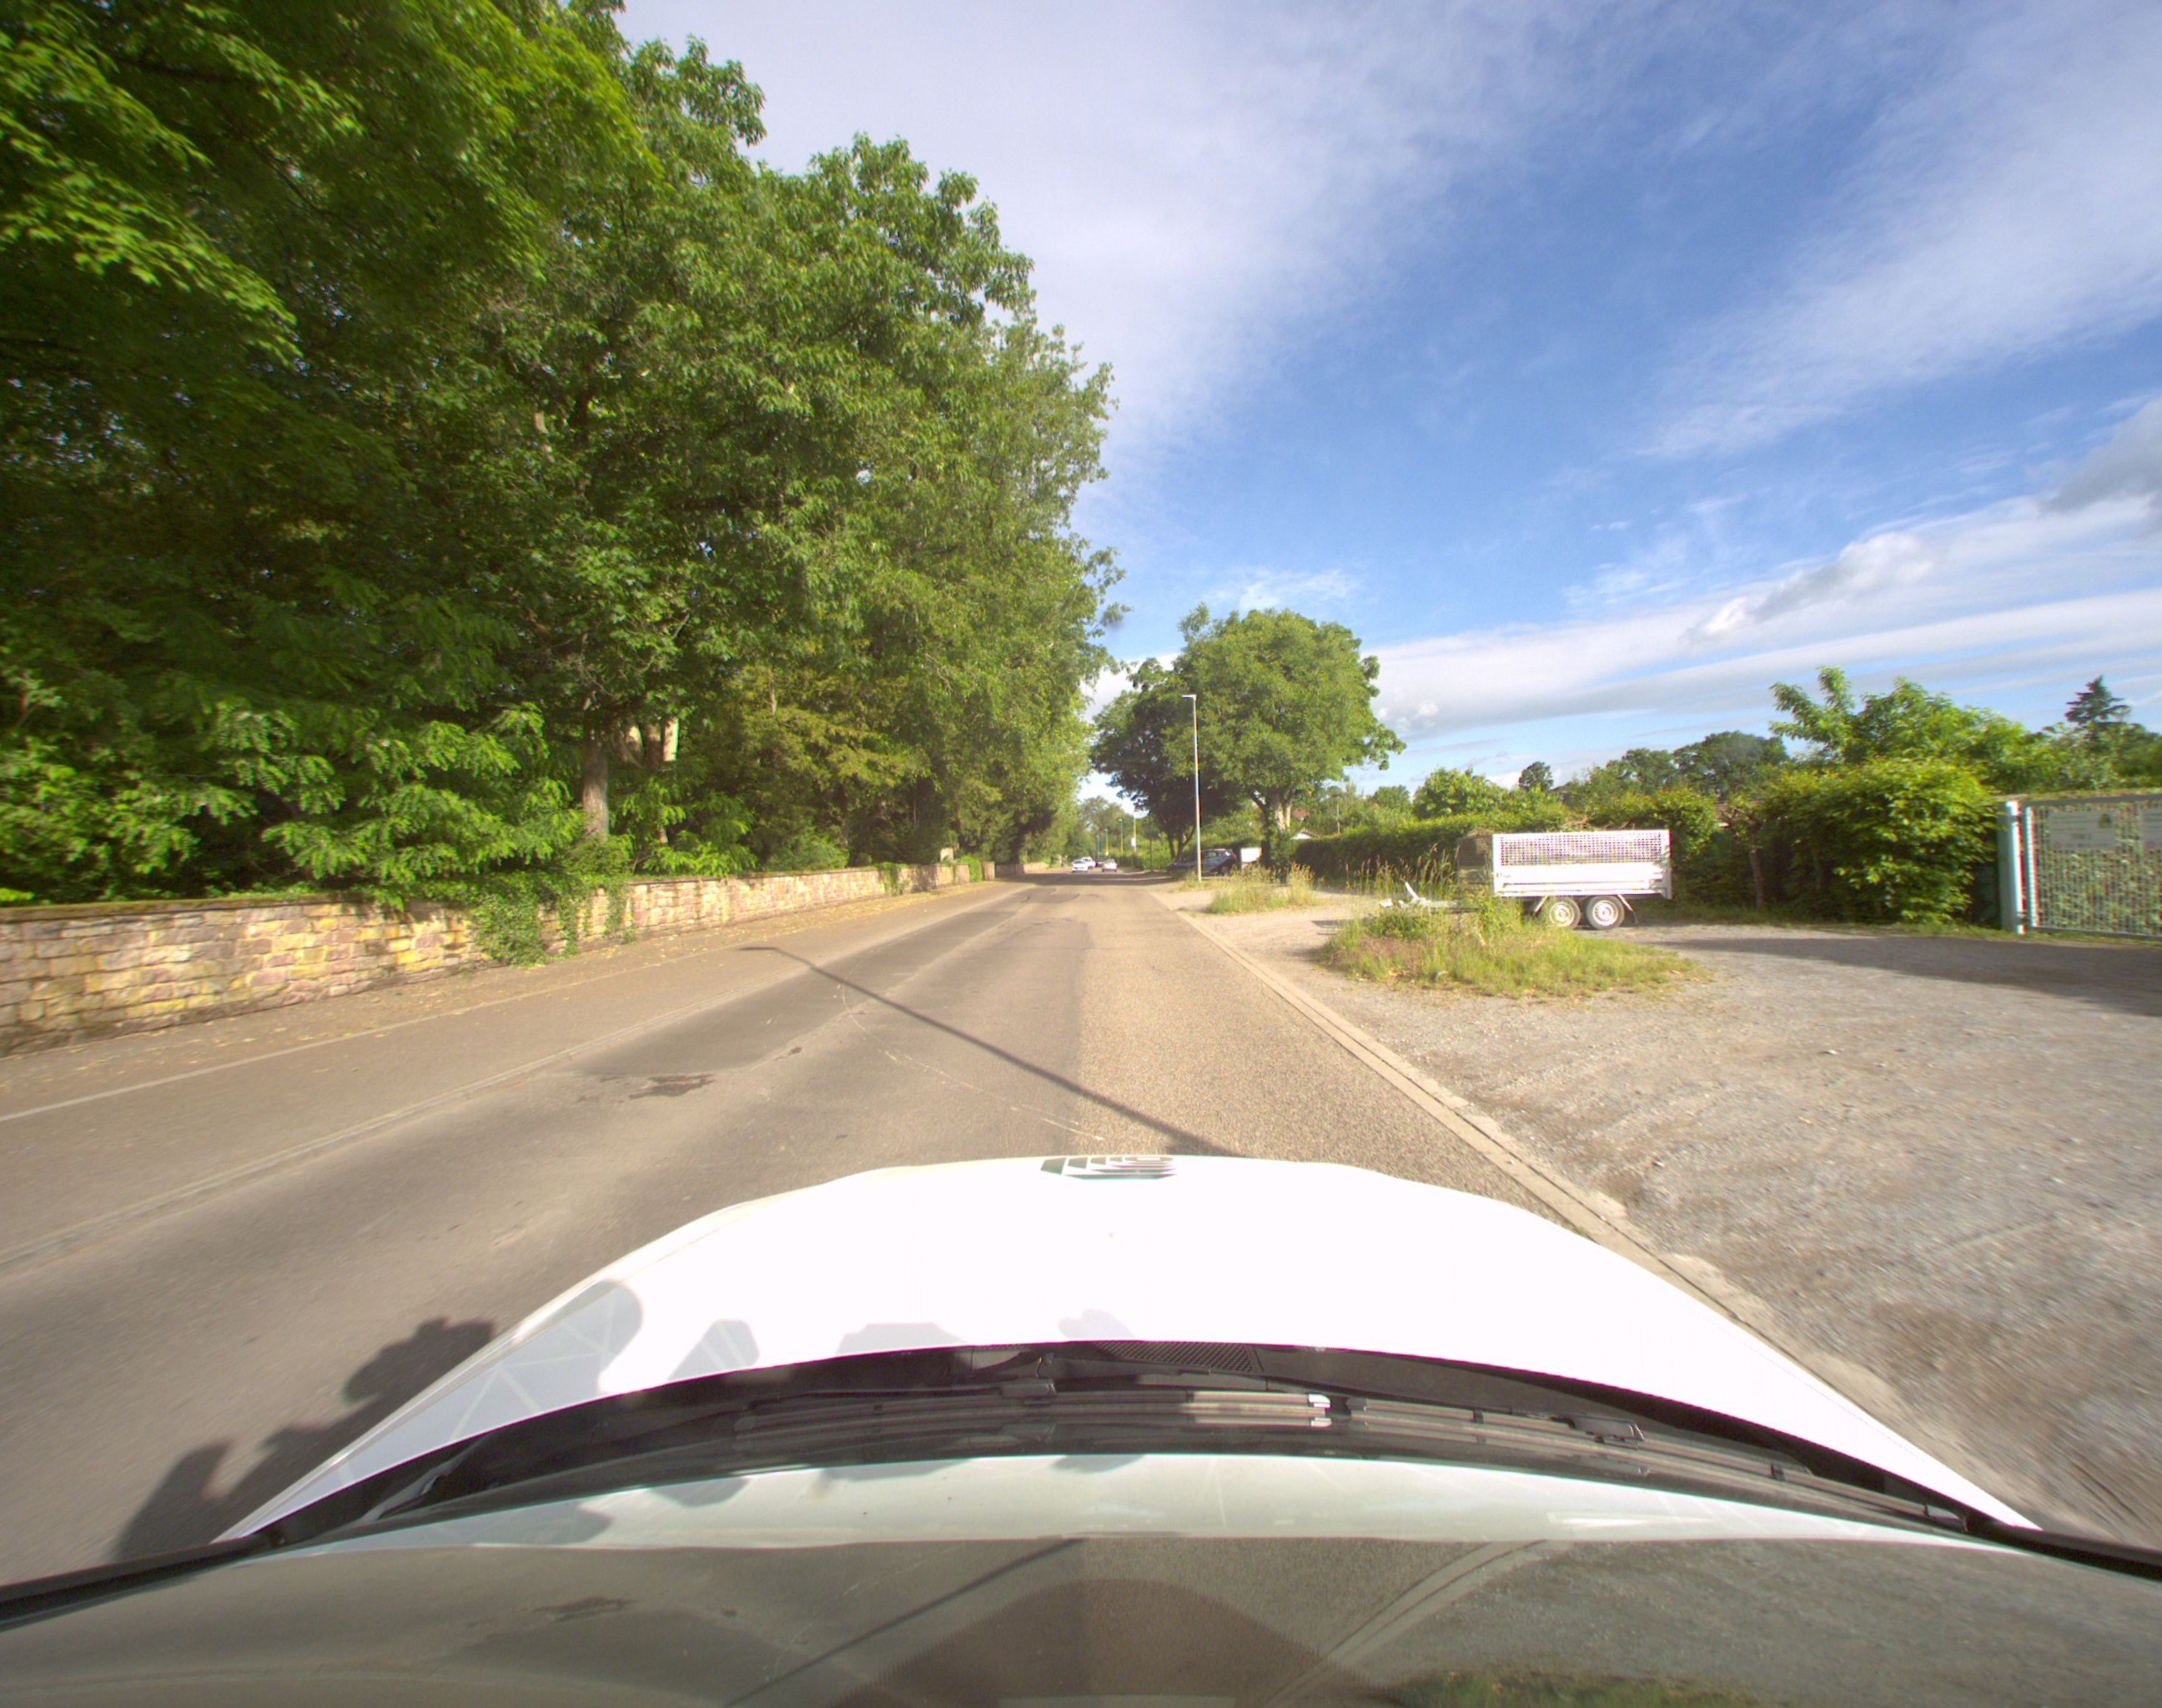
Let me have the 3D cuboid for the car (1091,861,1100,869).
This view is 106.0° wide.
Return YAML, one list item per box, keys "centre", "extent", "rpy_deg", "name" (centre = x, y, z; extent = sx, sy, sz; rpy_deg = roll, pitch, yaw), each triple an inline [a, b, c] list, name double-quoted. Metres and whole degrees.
- centre: [3.030, 2.316, 175.427]
  extent: [1.880, 1.613, 4.055]
  rpy_deg: [-2, -1, 1]
  name: "car"

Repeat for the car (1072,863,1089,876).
- centre: [-0.111, 1.766, 94.794]
  extent: [1.881, 1.372, 4.053]
  rpy_deg: [-2, -1, -1]
  name: "car"

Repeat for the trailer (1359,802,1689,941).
- centre: [6.835, 0.274, 12.982]
  extent: [4.132, 1.835, 1.919]
  rpy_deg: [-3, -1, 5]
  name: "trailer"

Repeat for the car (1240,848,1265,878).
- centre: [10.400, 0.501, 49.386]
  extent: [1.342, 1.632, 4.125]
  rpy_deg: [-5, 0, 12]
  name: "car"

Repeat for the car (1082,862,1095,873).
- centre: [1.183, 2.006, 123.758]
  extent: [1.880, 1.564, 4.055]
  rpy_deg: [-2, -1, 1]
  name: "car"

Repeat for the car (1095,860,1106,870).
- centre: [3.467, 1.970, 148.071]
  extent: [1.880, 1.613, 4.055]
  rpy_deg: [-2, -1, 1]
  name: "car"

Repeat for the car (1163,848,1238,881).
- centre: [7.485, 0.663, 51.326]
  extent: [4.386, 1.646, 2.001]
  rpy_deg: [-5, -1, 2]
  name: "car"

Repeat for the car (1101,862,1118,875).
- centre: [3.316, 1.695, 94.704]
  extent: [1.880, 1.372, 4.055]
  rpy_deg: [-2, -1, 1]
  name: "car"
